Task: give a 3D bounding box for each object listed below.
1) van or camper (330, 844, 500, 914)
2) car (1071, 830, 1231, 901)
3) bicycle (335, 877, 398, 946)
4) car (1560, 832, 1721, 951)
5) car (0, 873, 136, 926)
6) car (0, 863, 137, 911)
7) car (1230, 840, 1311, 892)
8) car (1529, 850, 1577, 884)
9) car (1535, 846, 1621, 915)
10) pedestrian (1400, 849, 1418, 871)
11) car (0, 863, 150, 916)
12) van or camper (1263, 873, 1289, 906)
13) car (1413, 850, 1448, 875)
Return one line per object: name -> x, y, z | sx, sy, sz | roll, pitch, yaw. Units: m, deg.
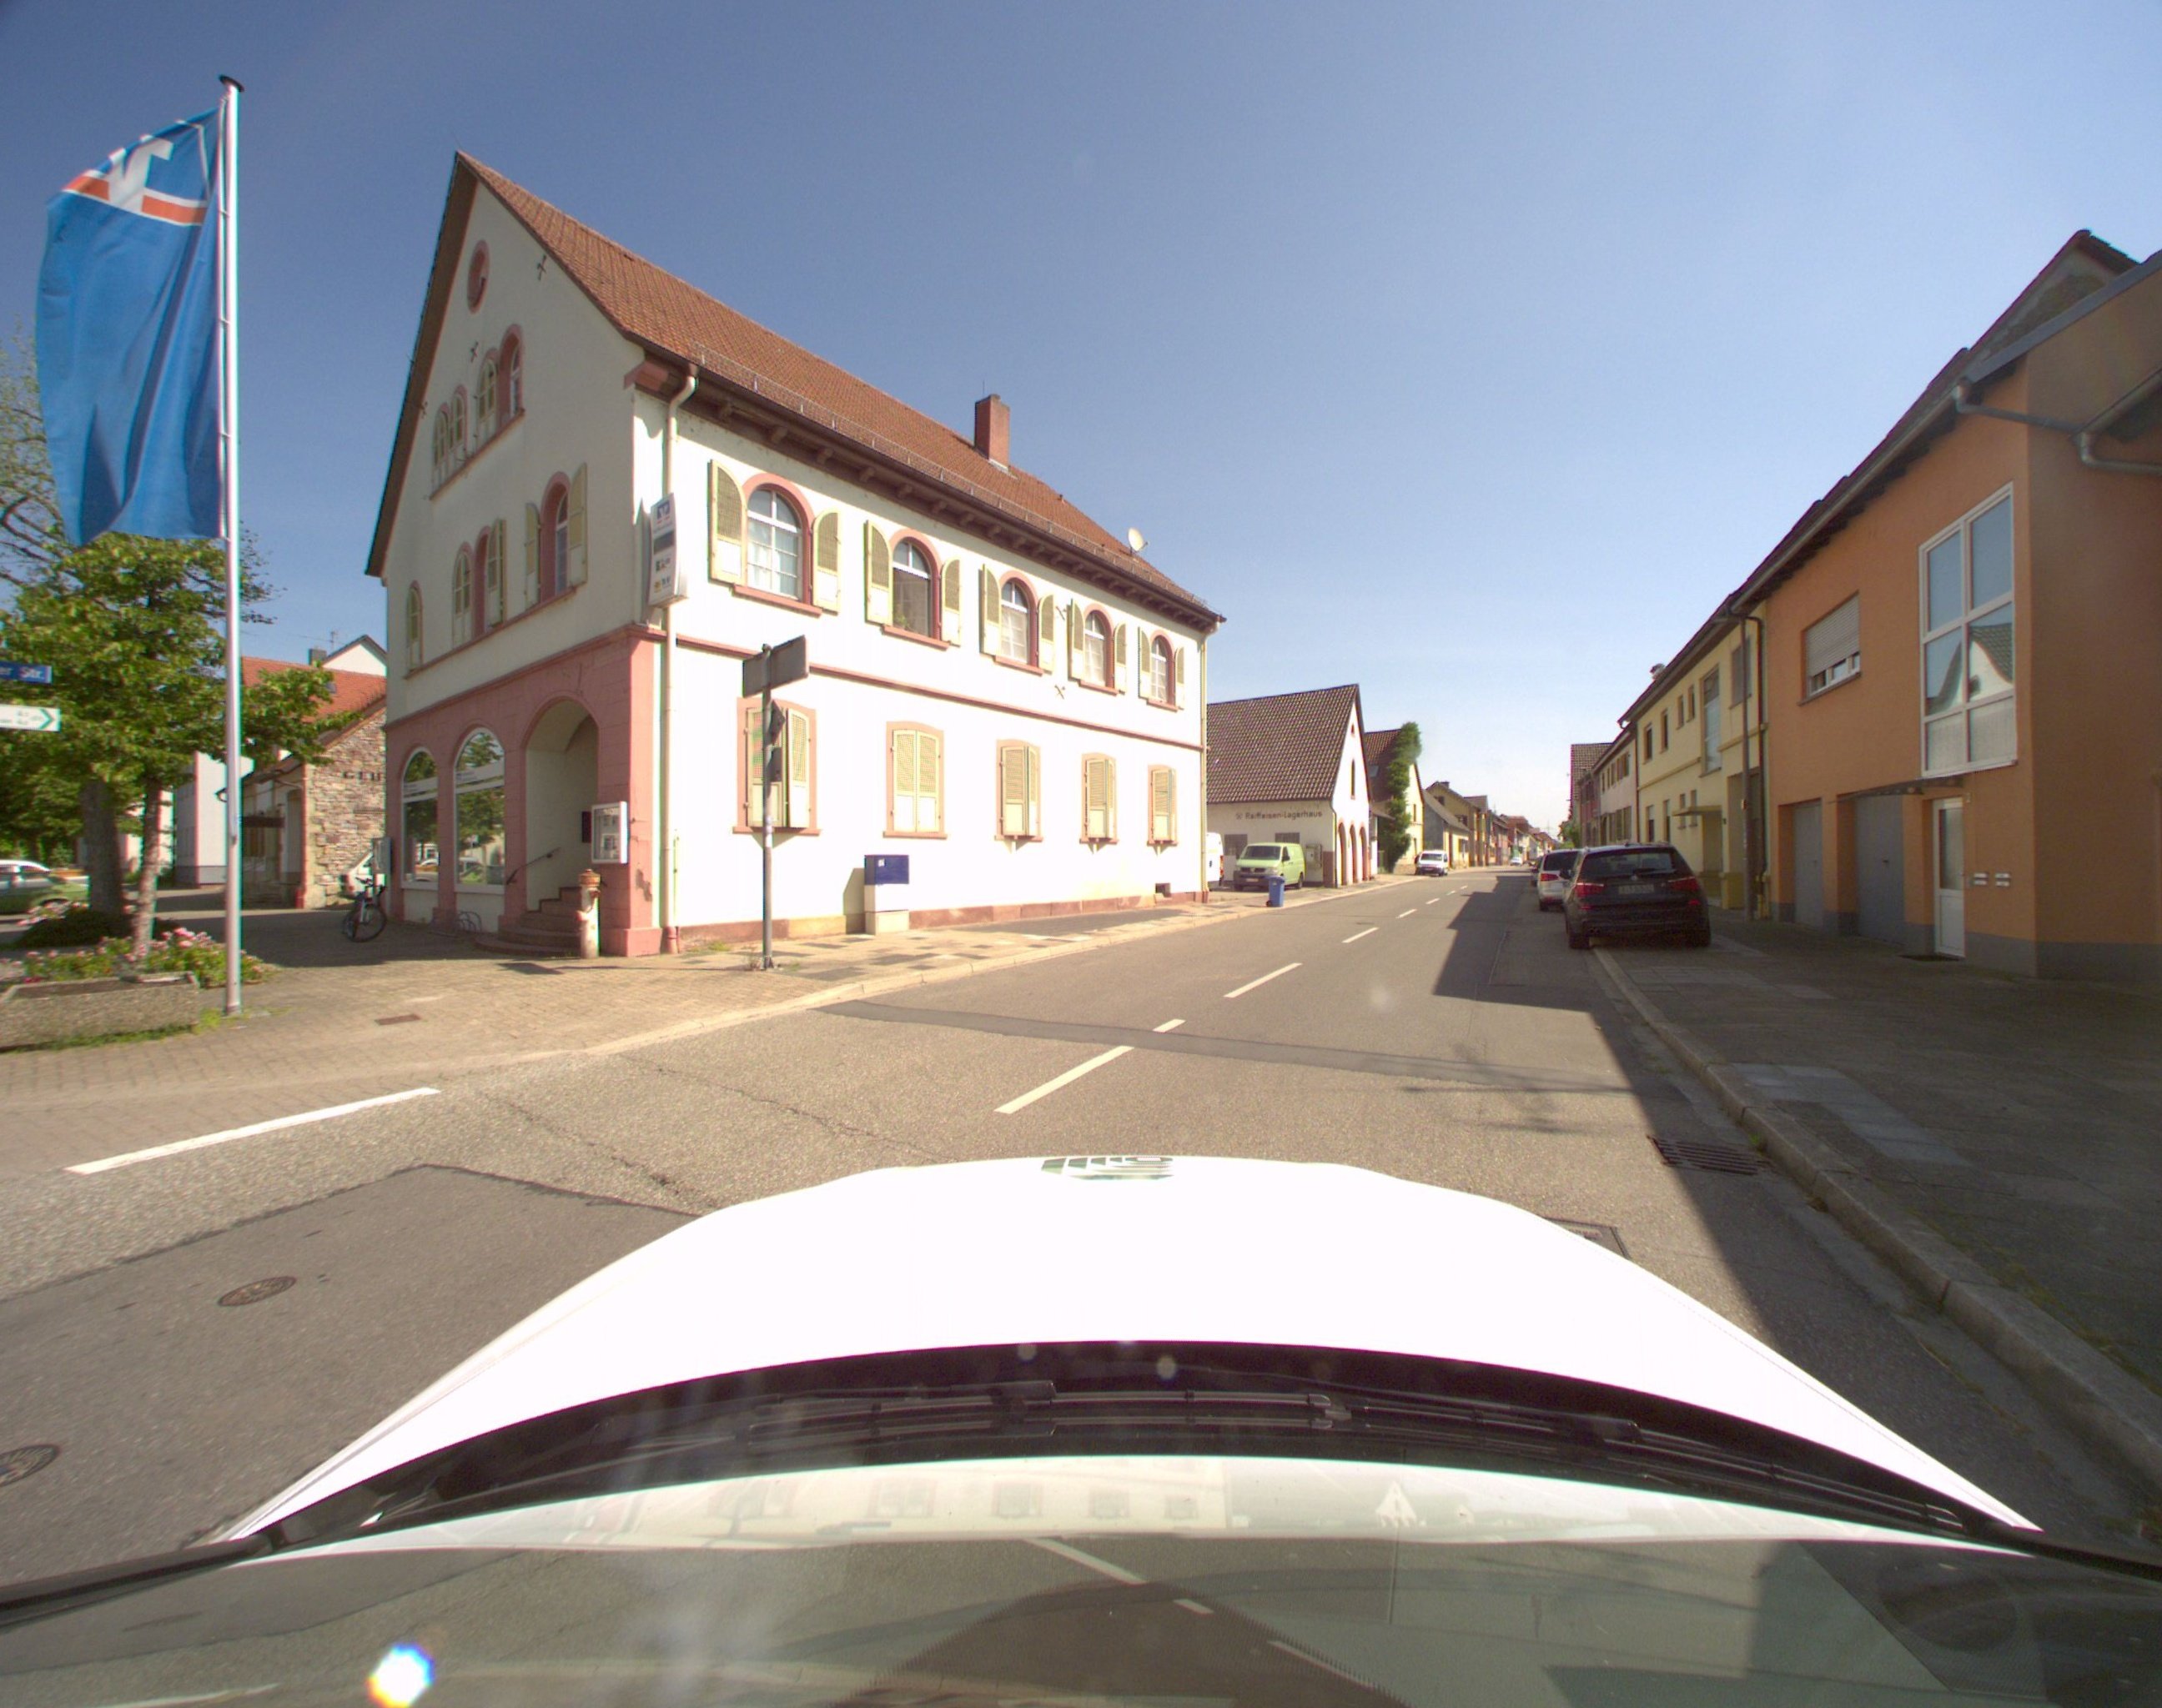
van or camper -> -20.950, 0.717, 25.702 | 4.023, 2.013, 1.975 | 0, 0, -44
car -> 2.317, 0.355, 27.785 | 5.126, 2.196, 2.136 | 0, 0, 39
bicycle -> -12.823, 0.999, 14.609 | 1.726, 1.136, 0.599 | -1, 0, 40
car -> 9.584, 0.562, 14.352 | 1.826, 1.703, 5.212 | -3, -1, 30
car -> -29.299, 1.258, 22.549 | 1.974, 1.344, 3.962 | -1, 0, 37
car -> -36.209, 1.129, 28.390 | 1.974, 1.568, 4.190 | -1, 0, 37
car -> 7.891, 0.459, 33.585 | 1.974, 1.964, 4.698 | -1, 0, 30
car -> 22.044, 0.591, 38.136 | 1.683, 1.469, 4.436 | -2, -1, 27
car -> 13.807, 0.672, 22.822 | 1.880, 1.728, 4.275 | 0, 0, 29
pedestrian -> 23.735, 0.433, 58.941 | 1.125, 1.552, 1.023 | 0, 0, 27
car -> -34.197, 1.140, 26.604 | 1.974, 1.623, 4.850 | -1, 0, 37
van or camper -> 5.835, 1.053, 24.362 | 0.583, 0.951, 0.604 | 0, 0, 34
car -> 24.763, 0.575, 57.614 | 1.838, 1.647, 4.456 | -1, 0, 28
